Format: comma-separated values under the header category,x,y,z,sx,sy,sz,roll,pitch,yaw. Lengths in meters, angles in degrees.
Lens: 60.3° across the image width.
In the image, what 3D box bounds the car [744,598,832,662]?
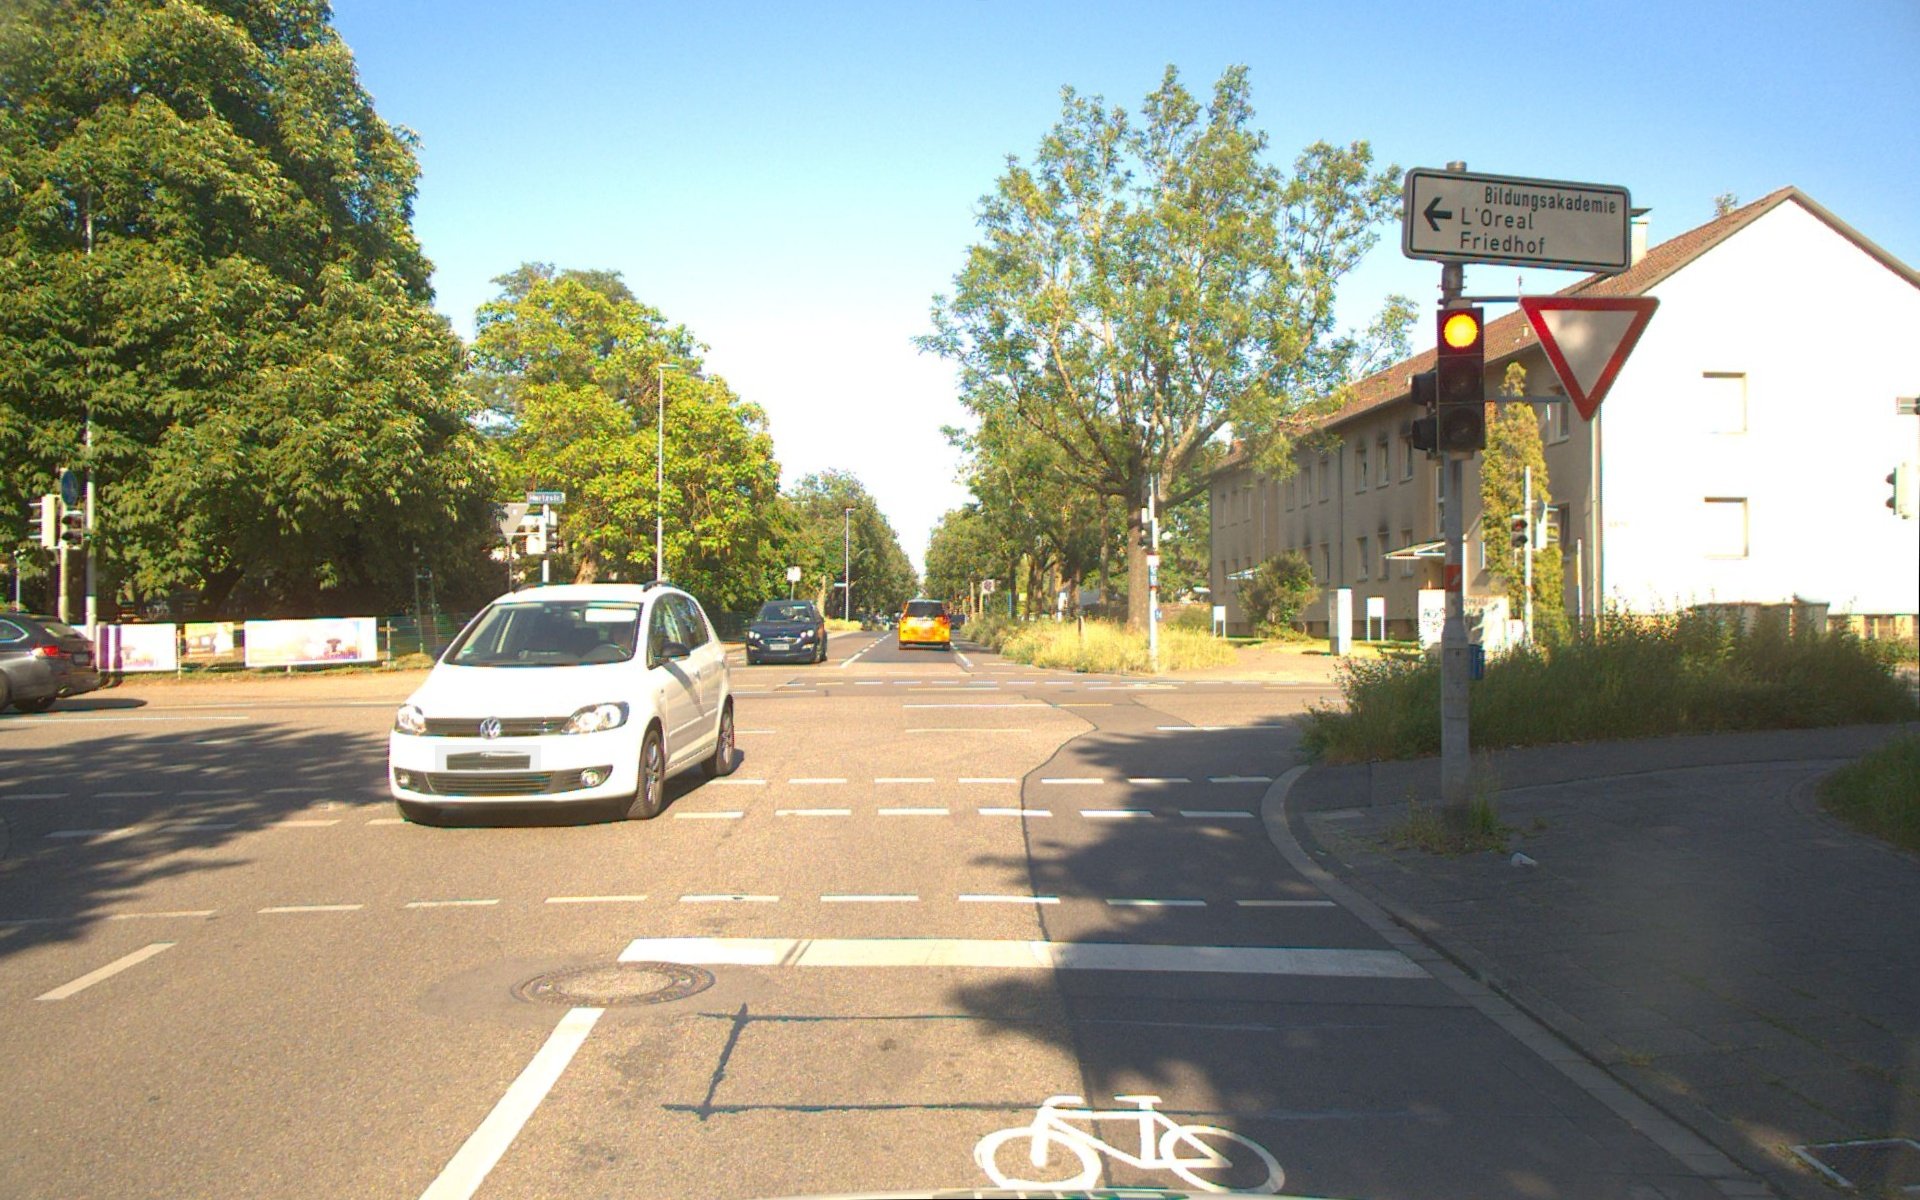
category,x,y,z,sx,sy,sz,roll,pitch,yaw
car,-3.957,0.662,38.543,1.676,1.410,3.471,0,0,0

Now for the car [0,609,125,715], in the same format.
category,x,y,z,sx,sy,sz,roll,pitch,yaw
car,-15.015,0.925,24.114,4.642,1.455,1.995,-1,0,-11

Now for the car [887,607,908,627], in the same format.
category,x,y,z,sx,sy,sz,roll,pitch,yaw
car,-5.496,1.489,146.500,1.722,1.653,3.268,0,0,0

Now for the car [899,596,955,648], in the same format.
category,x,y,z,sx,sy,sz,roll,pitch,yaw
car,-1.047,0.702,53.552,1.716,1.610,3.999,1,0,-1

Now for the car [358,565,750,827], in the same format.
category,x,y,z,sx,sy,sz,roll,pitch,yaw
car,-2.790,0.603,12.349,1.715,1.590,4.121,-1,0,2

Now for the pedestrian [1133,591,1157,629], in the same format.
category,x,y,z,sx,sy,sz,roll,pitch,yaw
pedestrian,7.561,0.406,67.671,0.825,1.519,0.924,2,0,-1
